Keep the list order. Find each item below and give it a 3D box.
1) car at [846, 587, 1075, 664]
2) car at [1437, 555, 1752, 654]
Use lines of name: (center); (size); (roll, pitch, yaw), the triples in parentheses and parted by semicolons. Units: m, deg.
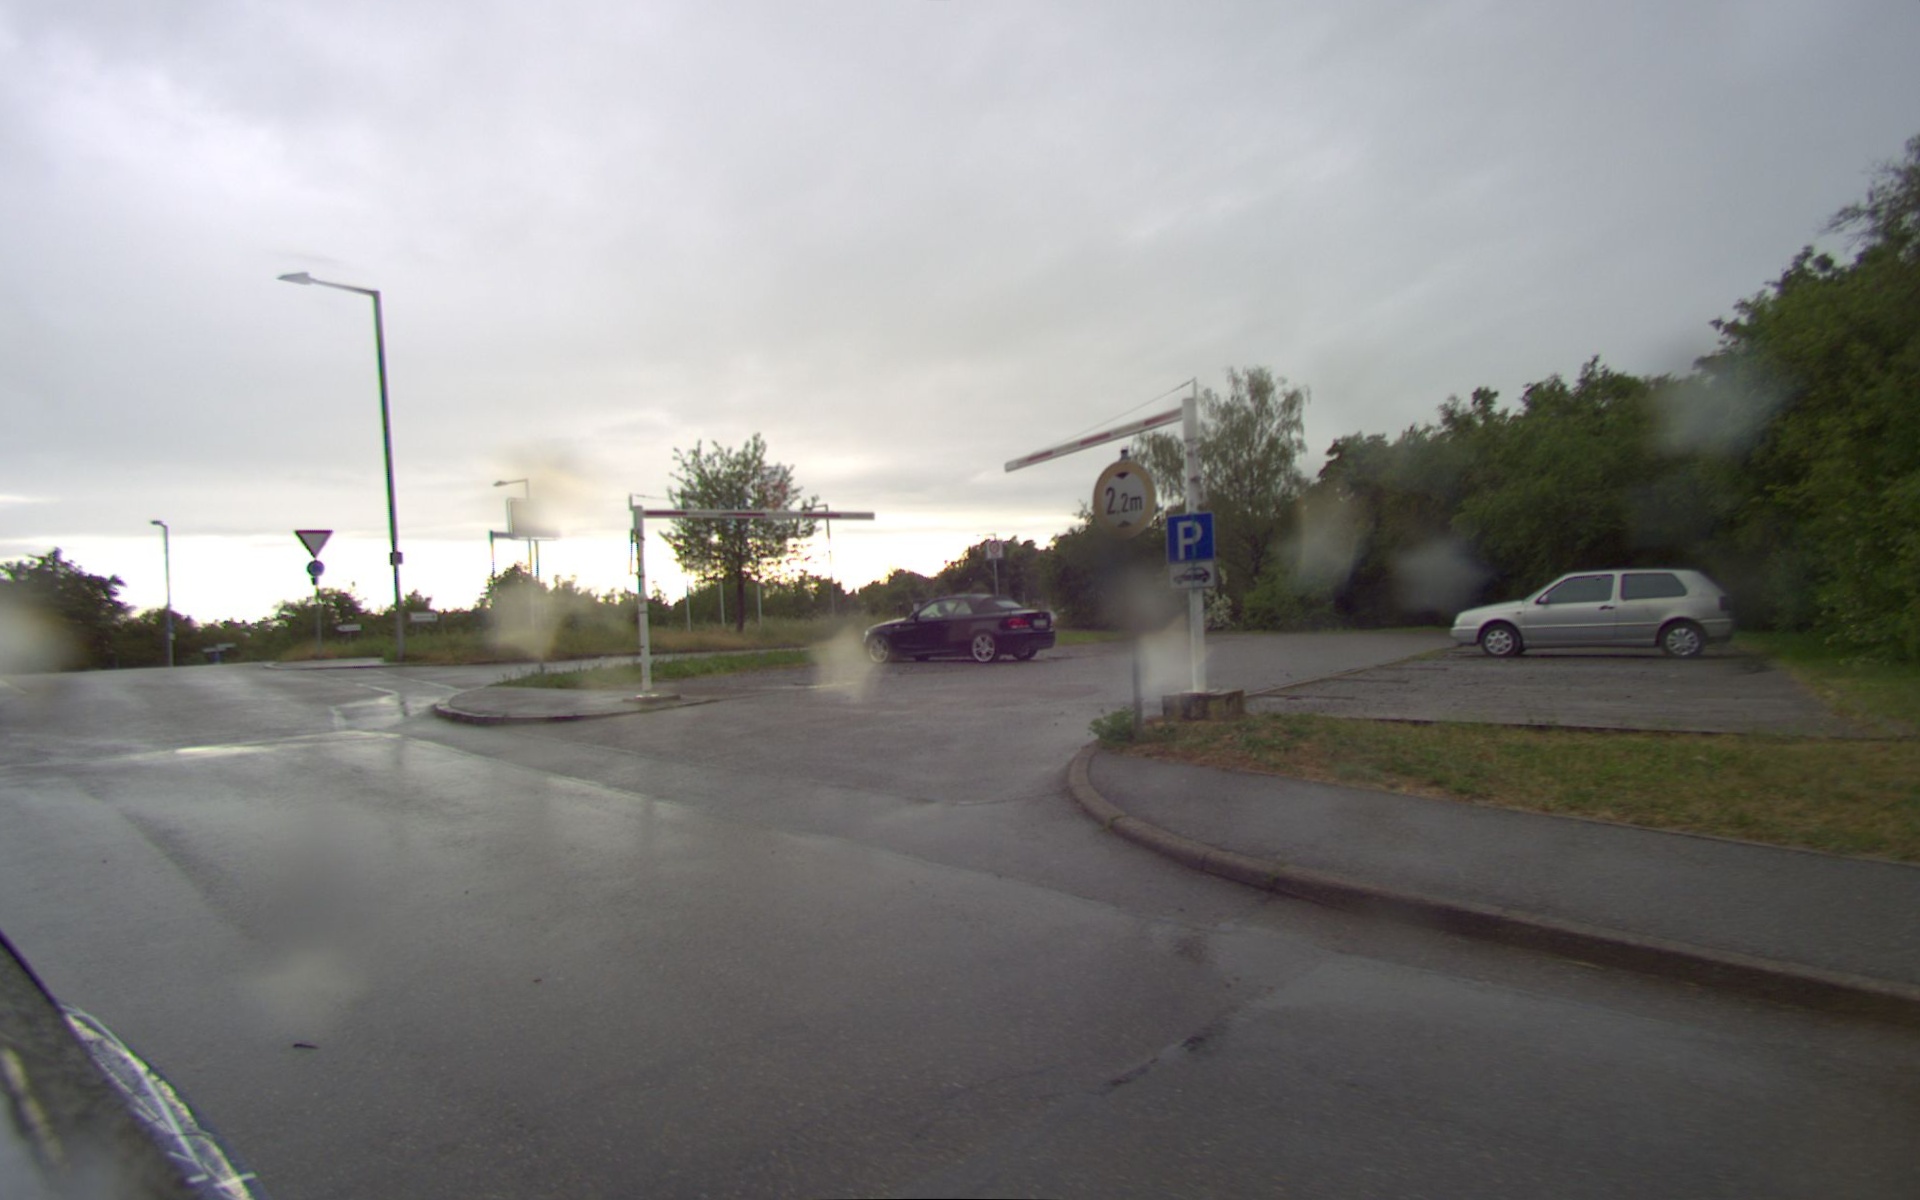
car: (-0.034, 0.545, 21.069); (4.418, 1.425, 1.977); (-3, -1, 35)
car: (10.289, 0.126, 16.628); (4.164, 1.409, 1.676); (-3, -1, 36)
